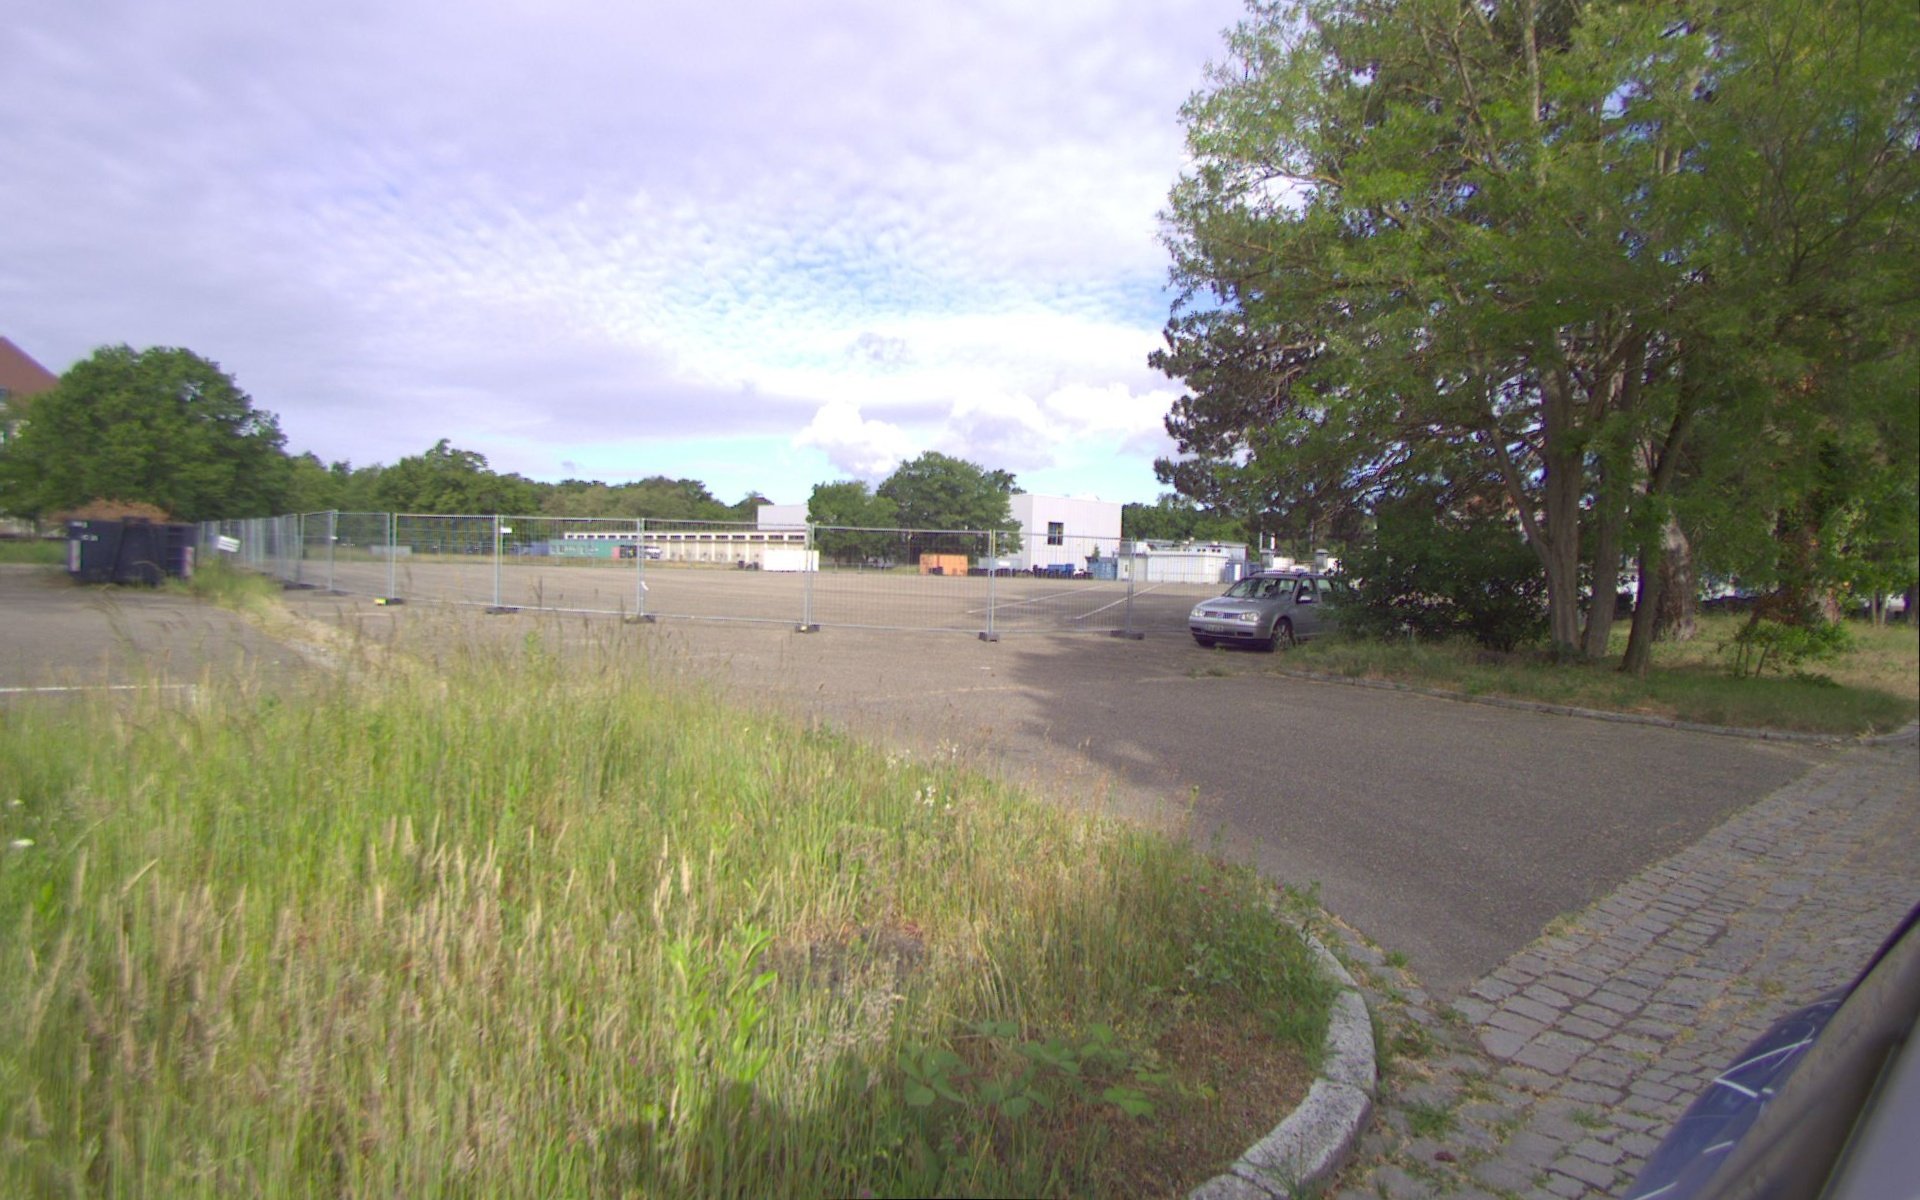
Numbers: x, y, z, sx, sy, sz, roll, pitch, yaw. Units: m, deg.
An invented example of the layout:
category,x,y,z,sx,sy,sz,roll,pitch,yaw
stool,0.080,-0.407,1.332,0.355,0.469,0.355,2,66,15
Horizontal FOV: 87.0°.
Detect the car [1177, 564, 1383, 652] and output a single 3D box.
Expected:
category,x,y,z,sx,sy,sz,roll,pitch,yaw
car,6.198,0.110,19.387,4.251,1.466,1.759,0,3,-41
